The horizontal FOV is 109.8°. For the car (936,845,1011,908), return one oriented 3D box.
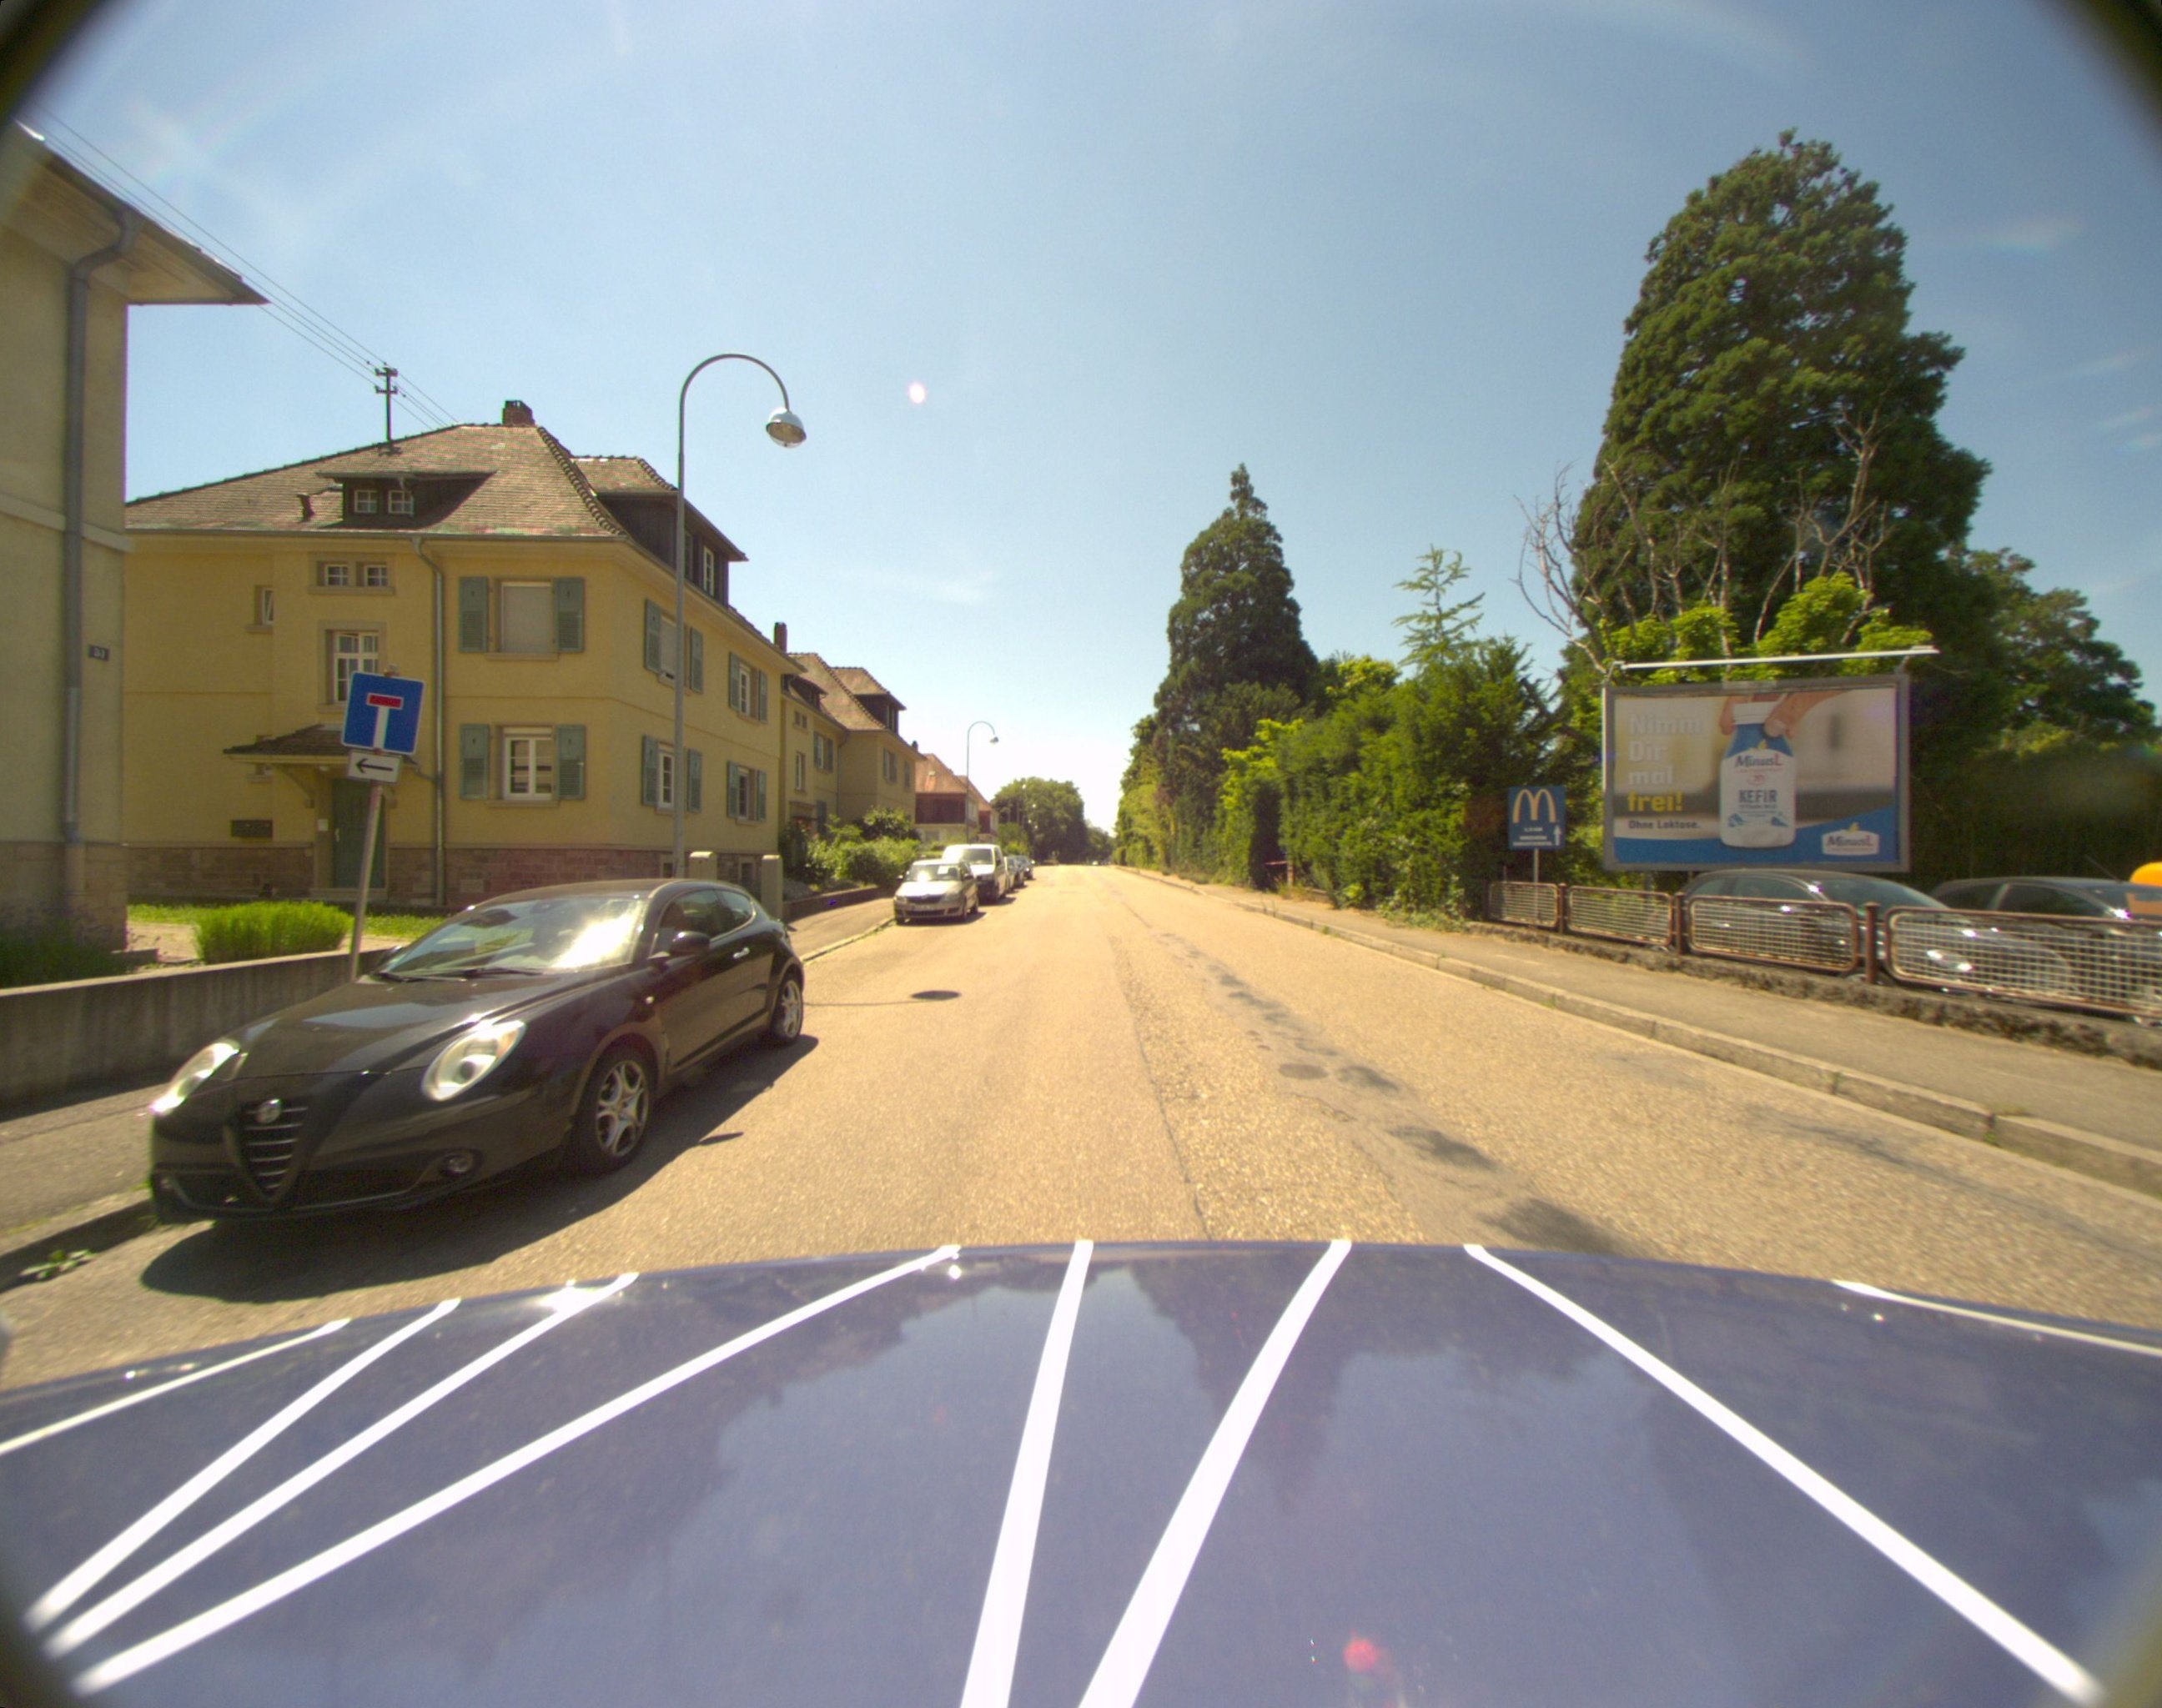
[{"bbox_3d":[-3.438,0.655,25.221,1.852,1.858,4.690,-2,1,-1],"label":"car"}]

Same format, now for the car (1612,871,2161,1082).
[{"bbox_3d":[8.060,1.052,8.197,1.799,1.509,3.999,1,1,-1],"label":"car"}]

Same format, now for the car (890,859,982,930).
[{"bbox_3d":[-3.484,0.915,18.895,1.600,1.495,3.999,-2,0,-2],"label":"car"}]

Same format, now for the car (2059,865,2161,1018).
[{"bbox_3d":[13.374,1.068,7.652,1.799,1.732,3.999,1,1,-1],"label":"car"}]

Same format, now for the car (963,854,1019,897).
[{"bbox_3d":[-3.542,0.801,30.632,1.806,1.505,4.336,-2,1,-1],"label":"car"}]

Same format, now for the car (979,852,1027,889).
[{"bbox_3d":[-3.531,0.702,35.166,1.806,1.505,4.336,-2,1,-1],"label":"car"}]

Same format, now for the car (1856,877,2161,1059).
[{"bbox_3d":[11.011,1.121,8.055,1.797,1.509,4.002,1,1,8],"label":"car"}]

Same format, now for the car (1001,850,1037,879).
[{"bbox_3d":[-3.595,0.586,44.691,1.806,1.505,4.336,-2,1,-1],"label":"car"}]

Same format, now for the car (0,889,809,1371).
[{"bbox_3d":[-3.162,1.054,4.657,1.600,1.422,3.999,-2,0,-2],"label":"car"}]
